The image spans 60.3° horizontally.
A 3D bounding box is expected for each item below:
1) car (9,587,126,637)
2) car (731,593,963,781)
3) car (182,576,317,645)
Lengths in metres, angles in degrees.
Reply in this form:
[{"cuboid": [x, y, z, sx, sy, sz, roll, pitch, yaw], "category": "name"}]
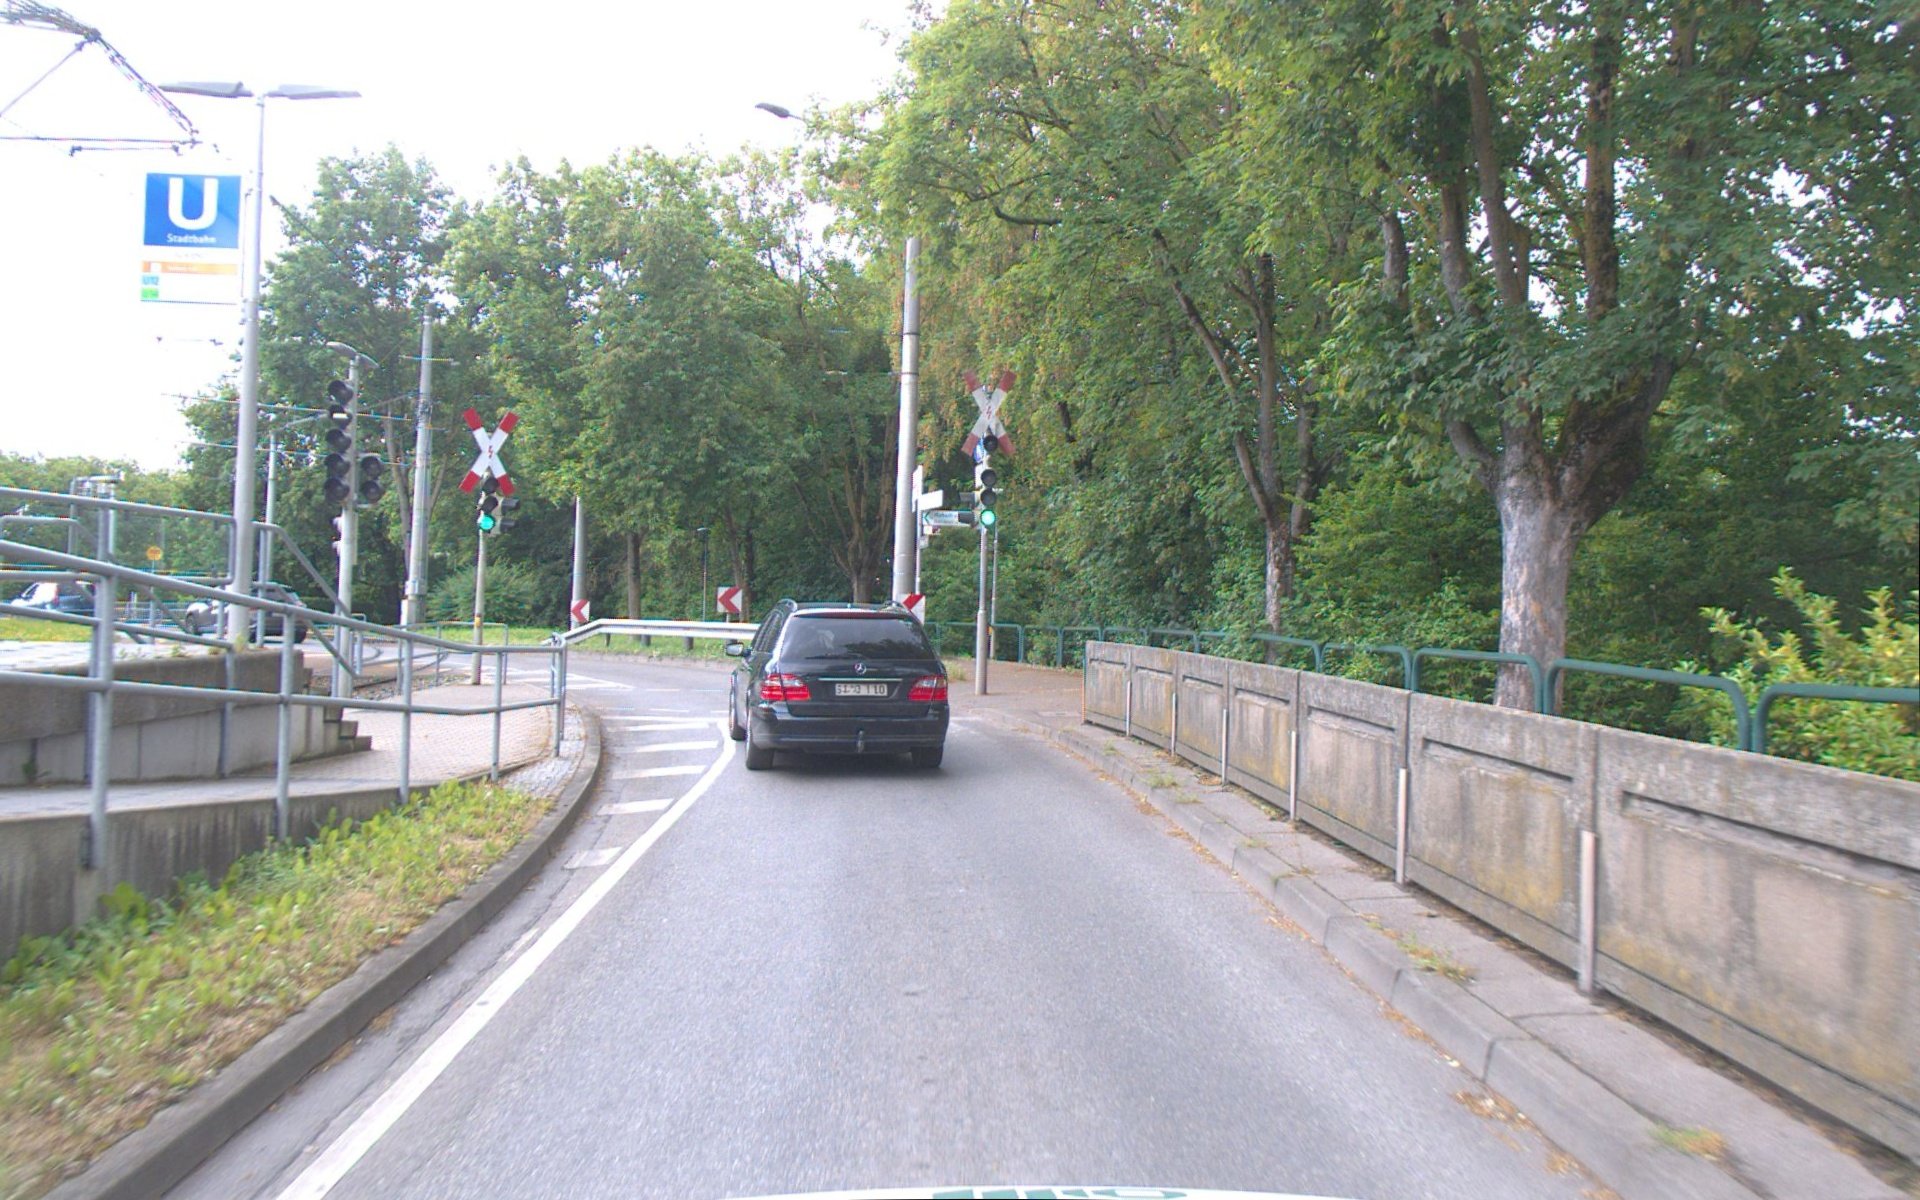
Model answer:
[{"cuboid": [-27.668, 0.356, 51.250, 3.930, 1.424, 1.988, 1, 0, 42], "category": "car"}, {"cuboid": [-1.203, 0.725, 15.781, 1.750, 1.552, 3.989, 0, 0, -11], "category": "car"}, {"cuboid": [-18.515, 0.265, 43.047, 3.930, 1.677, 1.776, 2, 0, 43], "category": "car"}]
